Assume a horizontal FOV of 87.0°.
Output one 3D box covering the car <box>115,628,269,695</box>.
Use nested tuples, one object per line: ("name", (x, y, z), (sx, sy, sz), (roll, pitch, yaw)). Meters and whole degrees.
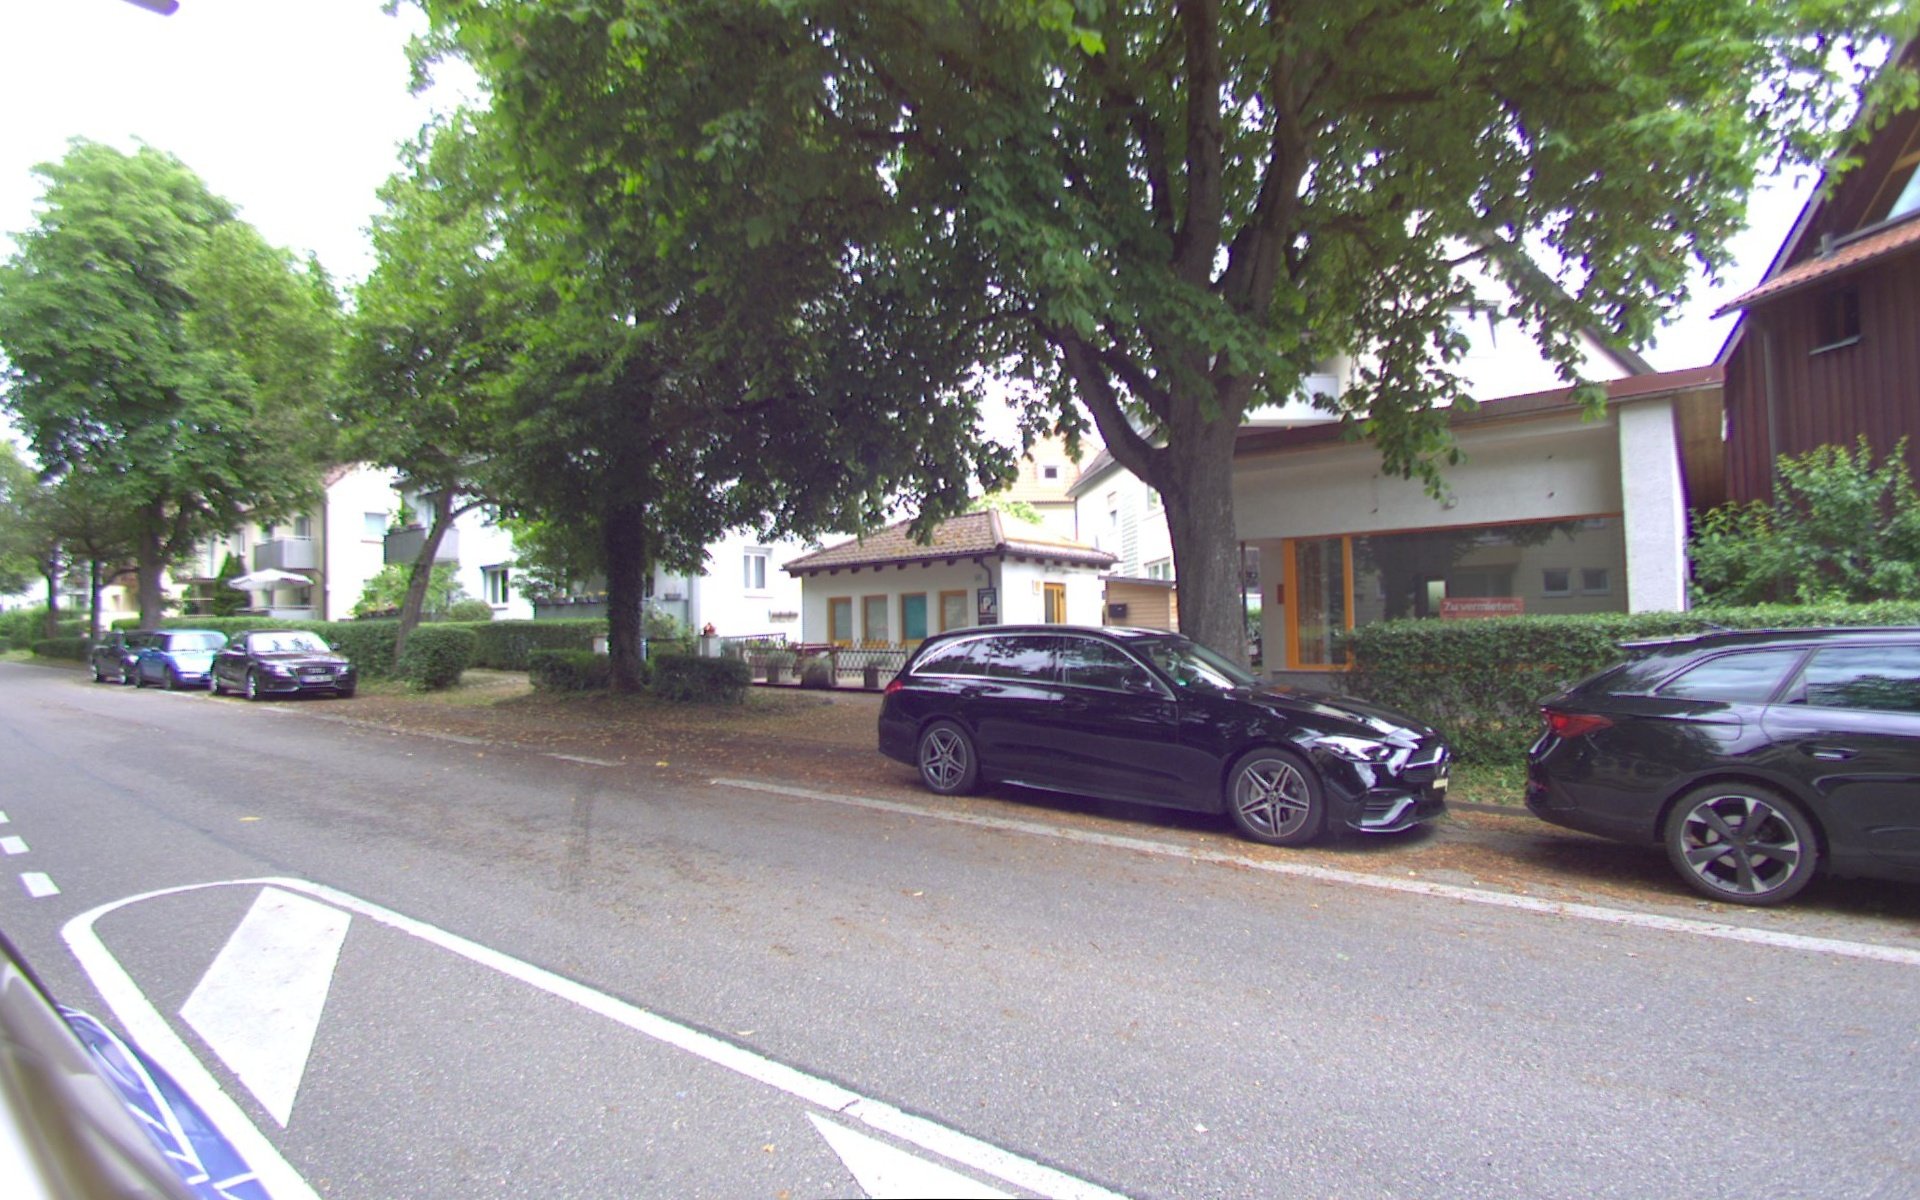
("car", (-18.919, 1.461, 24.865), (4.558, 1.512, 1.866), (-2, -3, 37))

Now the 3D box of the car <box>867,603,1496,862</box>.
("car", (1.552, 0.864, 8.206), (4.612, 1.511, 1.973), (-2, -3, 41))

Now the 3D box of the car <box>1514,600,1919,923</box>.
("car", (5.447, 0.755, 4.993), (4.536, 1.497, 1.674), (-2, -3, 38))

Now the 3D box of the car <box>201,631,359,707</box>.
("car", (-14.225, 1.375, 21.098), (4.169, 1.414, 1.713), (-2, -3, 41))

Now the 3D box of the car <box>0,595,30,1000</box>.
("car", (-5.925, 0.775, 4.601), (4.612, 1.511, 1.973), (-2, -3, 41))

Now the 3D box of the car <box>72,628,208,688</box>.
("car", (-22.608, 1.560, 27.857), (4.558, 1.545, 1.866), (-2, -3, 37))
